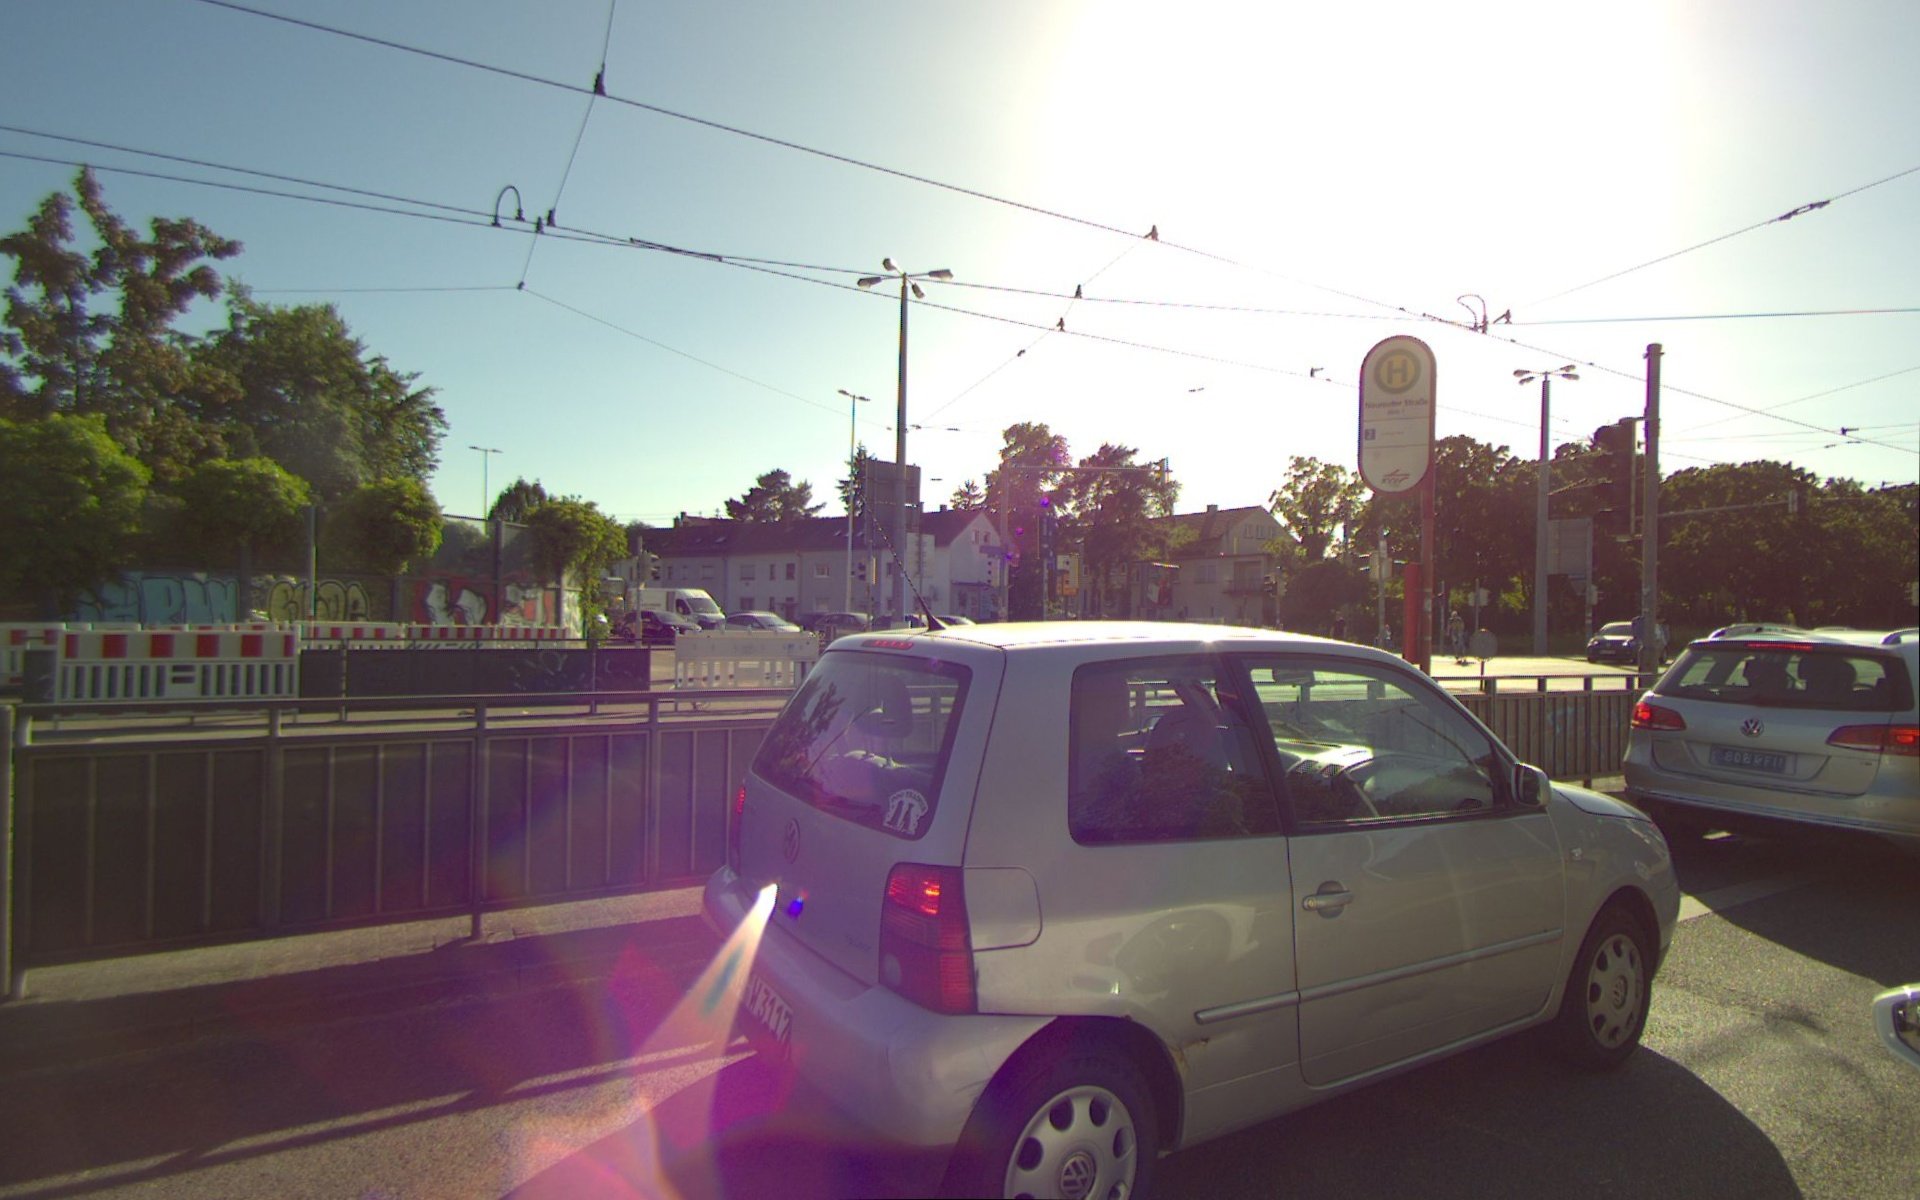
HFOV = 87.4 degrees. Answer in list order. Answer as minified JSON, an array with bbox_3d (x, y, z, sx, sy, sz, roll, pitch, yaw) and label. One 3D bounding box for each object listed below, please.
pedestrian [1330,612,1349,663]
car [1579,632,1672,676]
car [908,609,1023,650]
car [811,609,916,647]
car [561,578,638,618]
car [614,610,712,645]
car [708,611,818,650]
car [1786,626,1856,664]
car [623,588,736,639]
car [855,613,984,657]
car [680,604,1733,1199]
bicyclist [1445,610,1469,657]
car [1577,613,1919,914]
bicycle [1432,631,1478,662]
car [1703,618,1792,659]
[{"bbox_3d":[14.972,1.463,39.643,0.599,1.974,0.776,1,0,16],"label":"pedestrian"},{"bbox_3d":[23.887,1.892,36.036,3.669,1.478,1.671,2,-1,-37],"label":"car"},{"bbox_3d":[0.207,1.142,39.666,4.175,1.486,1.933,0,-1,32],"label":"car"},{"bbox_3d":[-4.150,1.171,43.020,4.185,1.486,1.933,0,0,32],"label":"car"},{"bbox_3d":[-19.098,-0.089,53.162,3.930,2.040,1.804,0,-1,32],"label":"car"},{"bbox_3d":[-13.361,1.208,45.175,4.185,1.486,1.934,0,-1,32],"label":"car"},{"bbox_3d":[-8.078,1.207,41.073,4.290,1.486,1.934,0,-1,32],"label":"car"},{"bbox_3d":[41.218,2.132,48.090,3.965,1.710,1.778,2,-1,-37],"label":"car"},{"bbox_3d":[-14.035,0.663,50.059,5.822,2.443,2.175,0,-1,34],"label":"car"},{"bbox_3d":[-1.506,1.245,36.704,4.556,1.496,1.668,0,-1,32],"label":"car"},{"bbox_3d":[0.957,0.794,3.417,3.376,1.488,1.573,1,-1,-32],"label":"car"},{"bbox_3d":[17.529,1.168,35.433,0.641,1.629,0.487,1,-1,-31],"label":"bicyclist"},{"bbox_3d":[6.415,0.904,7.011,4.372,1.548,1.867,2,-1,-32],"label":"car"},{"bbox_3d":[17.430,1.638,35.374,1.926,1.056,0.504,1,-1,-31],"label":"bicycle"},{"bbox_3d":[33.899,1.634,43.200,4.647,1.617,1.801,1,-1,-36],"label":"car"}]
